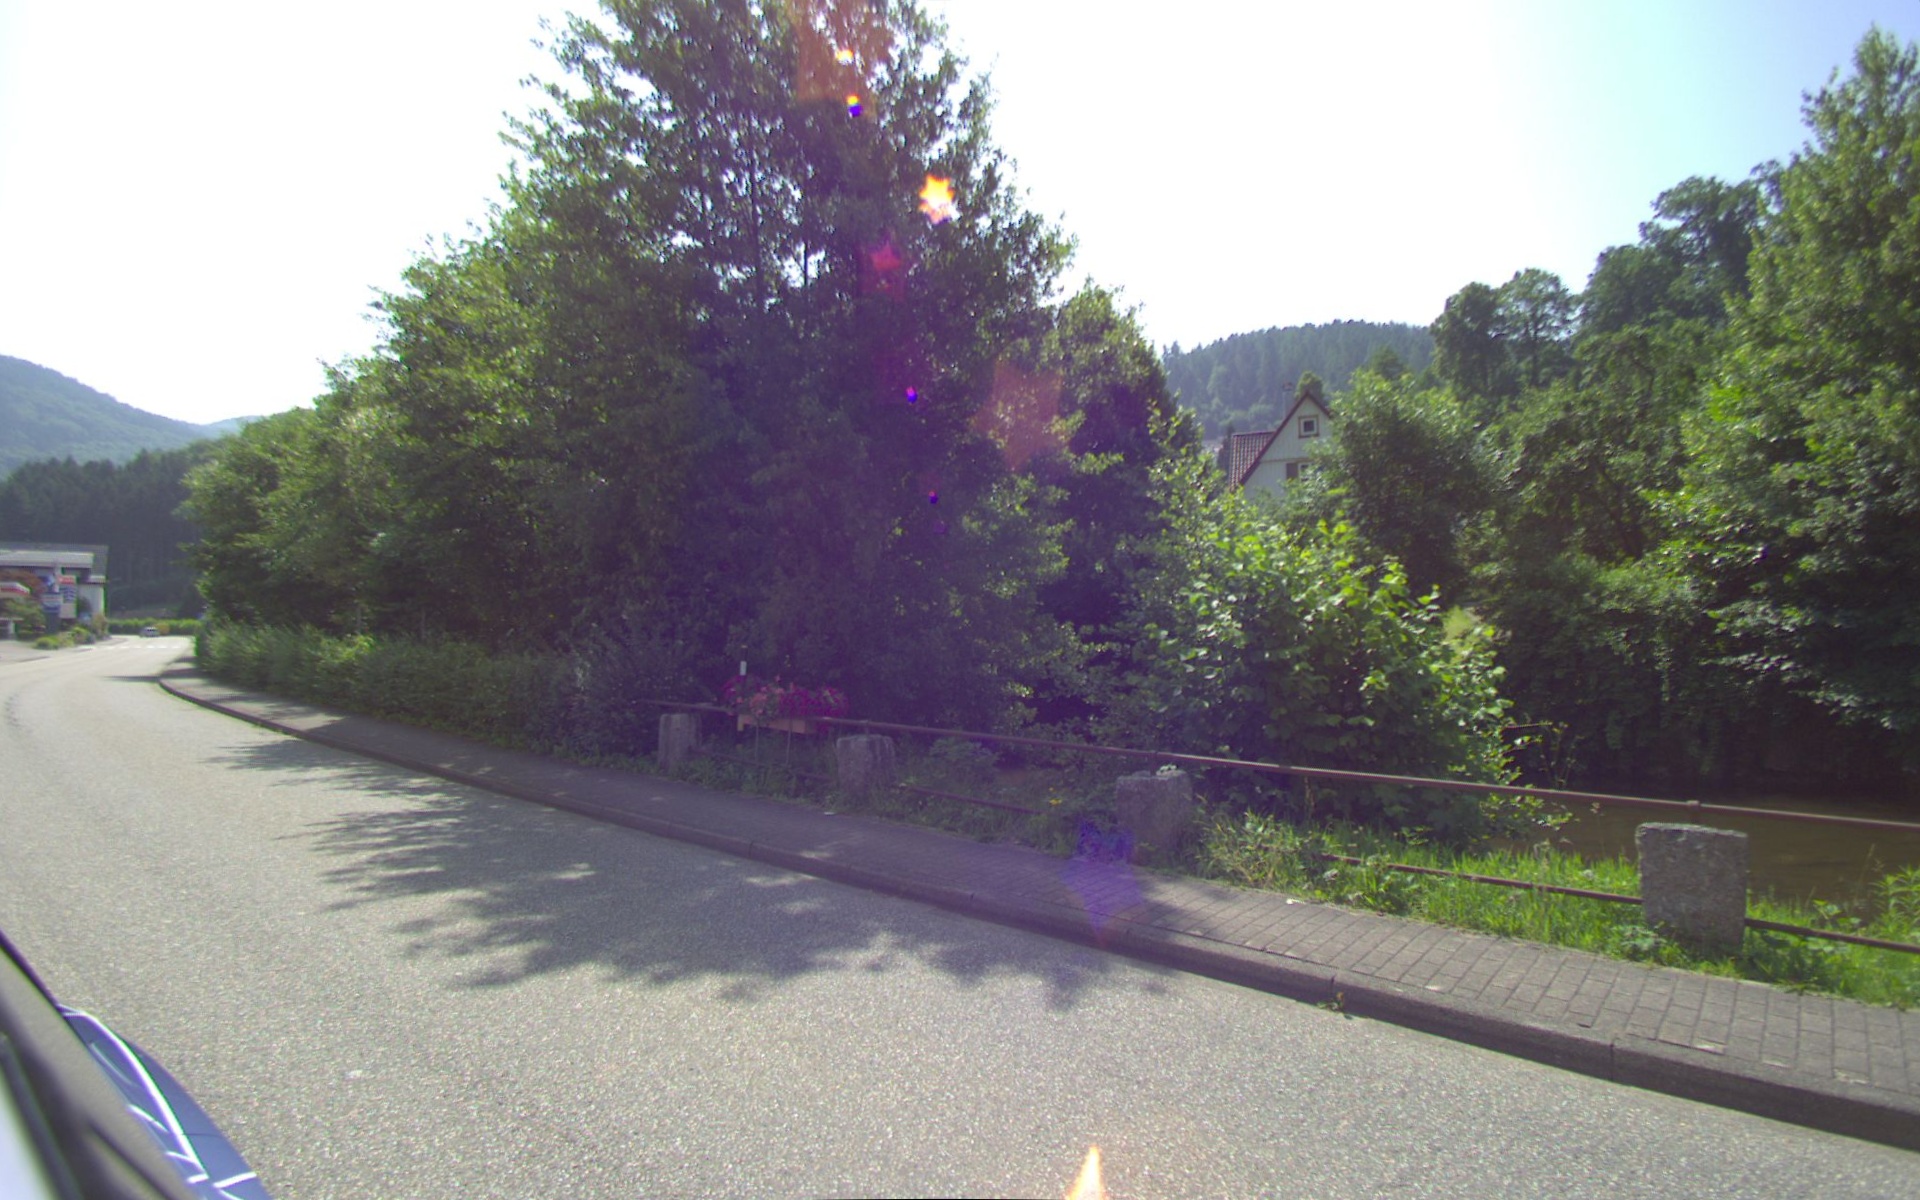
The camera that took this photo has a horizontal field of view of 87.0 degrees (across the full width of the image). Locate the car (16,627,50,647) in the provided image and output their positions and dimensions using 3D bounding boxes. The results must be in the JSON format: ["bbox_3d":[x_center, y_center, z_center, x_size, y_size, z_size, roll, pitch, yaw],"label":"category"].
[{"bbox_3d":[-83.938,3.337,91.694,1.669,1.589,3.920,6,-5,-35],"label":"car"}]

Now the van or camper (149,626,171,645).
[{"bbox_3d":[-128.517,5.744,162.565,2.327,2.976,8.069,3,-4,-36],"label":"van or camper"}]

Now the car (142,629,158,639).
[{"bbox_3d":[-123.553,5.240,154.450,1.569,1.494,3.766,3,-4,-35],"label":"car"}]
